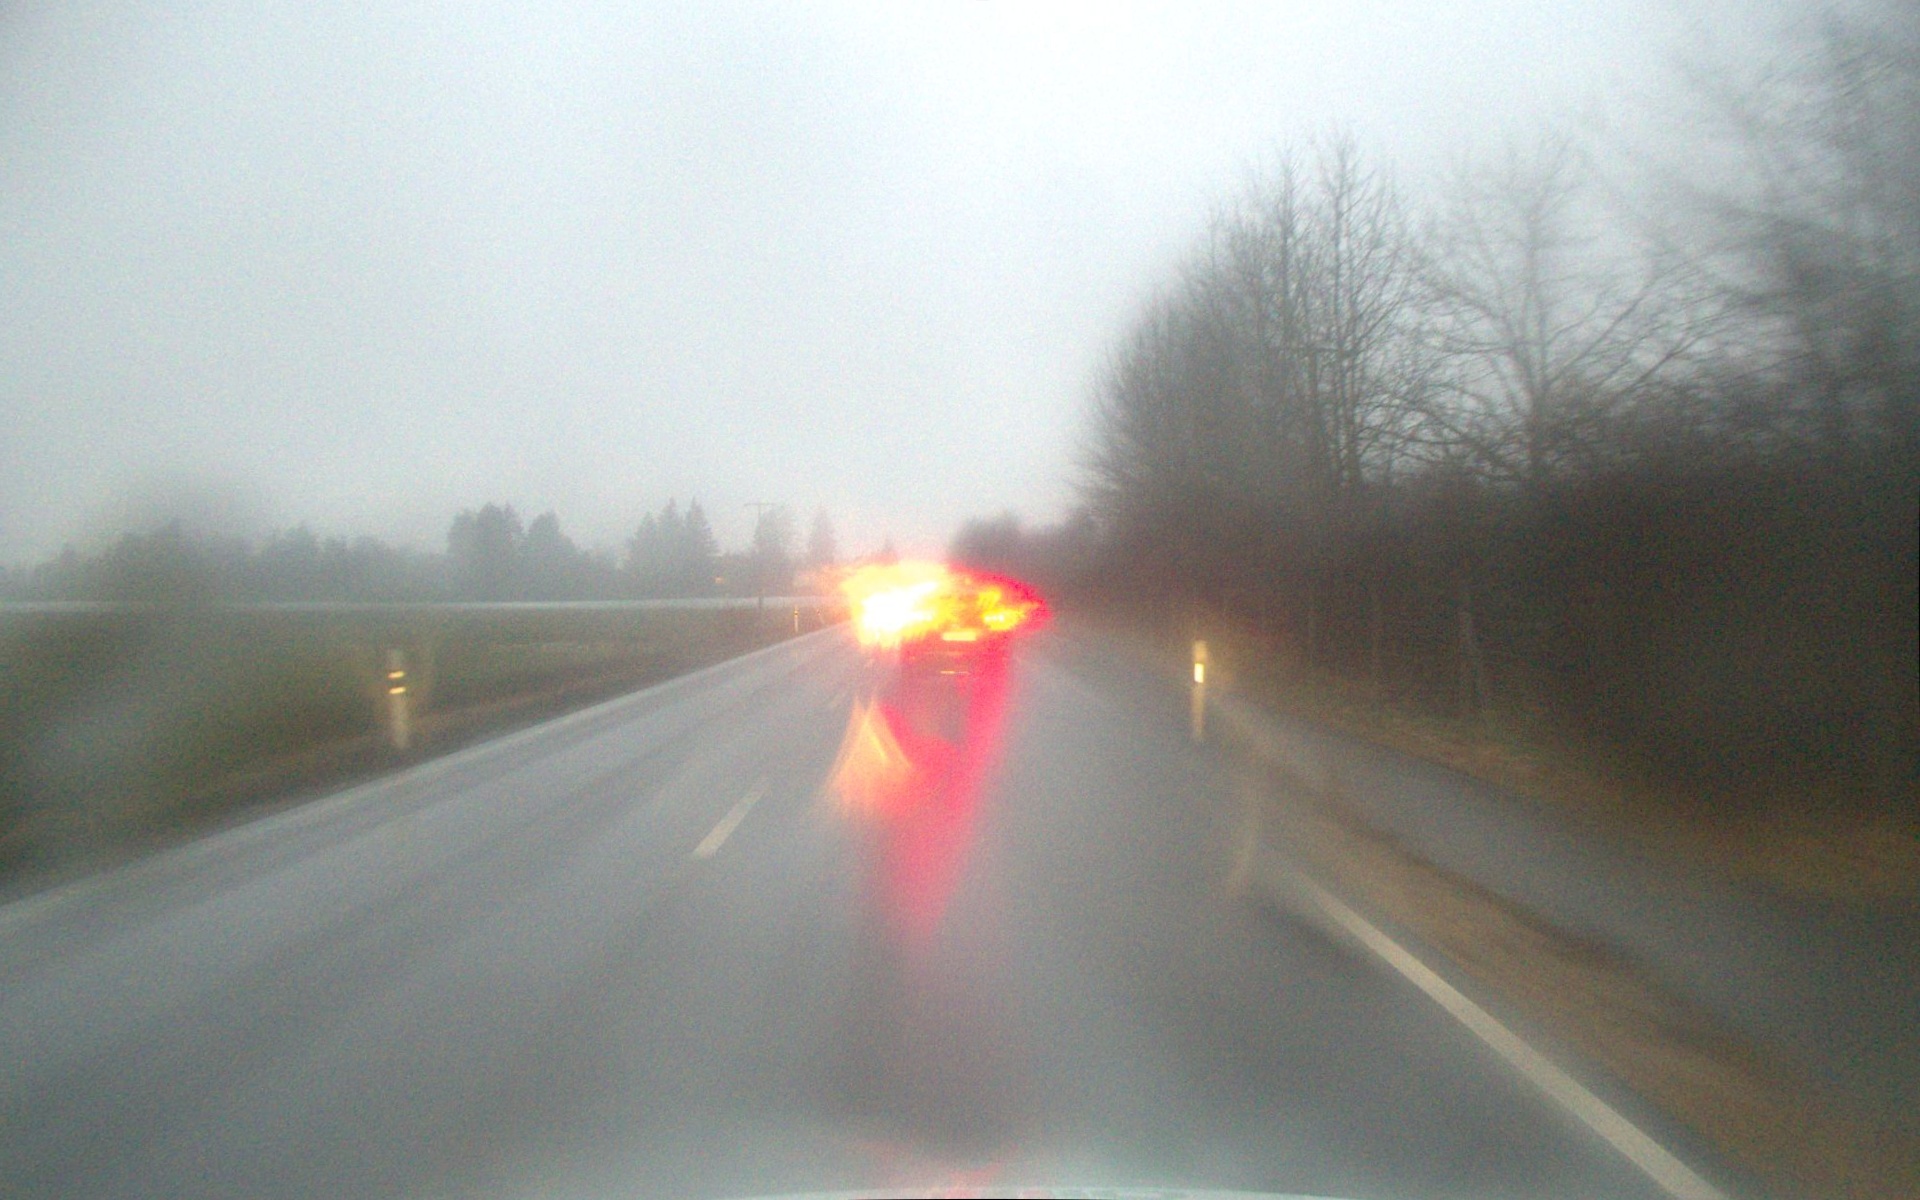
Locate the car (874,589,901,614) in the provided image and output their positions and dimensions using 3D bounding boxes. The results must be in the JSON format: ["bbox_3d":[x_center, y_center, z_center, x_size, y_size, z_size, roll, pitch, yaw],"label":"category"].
[{"bbox_3d":[-5.179,0.112,118.337,1.802,1.751,3.955,1,0,-2],"label":"car"}]

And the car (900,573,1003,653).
[{"bbox_3d":[-0.241,0.301,47.039,2.699,2.071,6.590,-1,1,0],"label":"car"}]

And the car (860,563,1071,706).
[{"bbox_3d":[0.064,0.481,27.914,3.100,2.071,6.851,-1,1,0],"label":"car"}]
